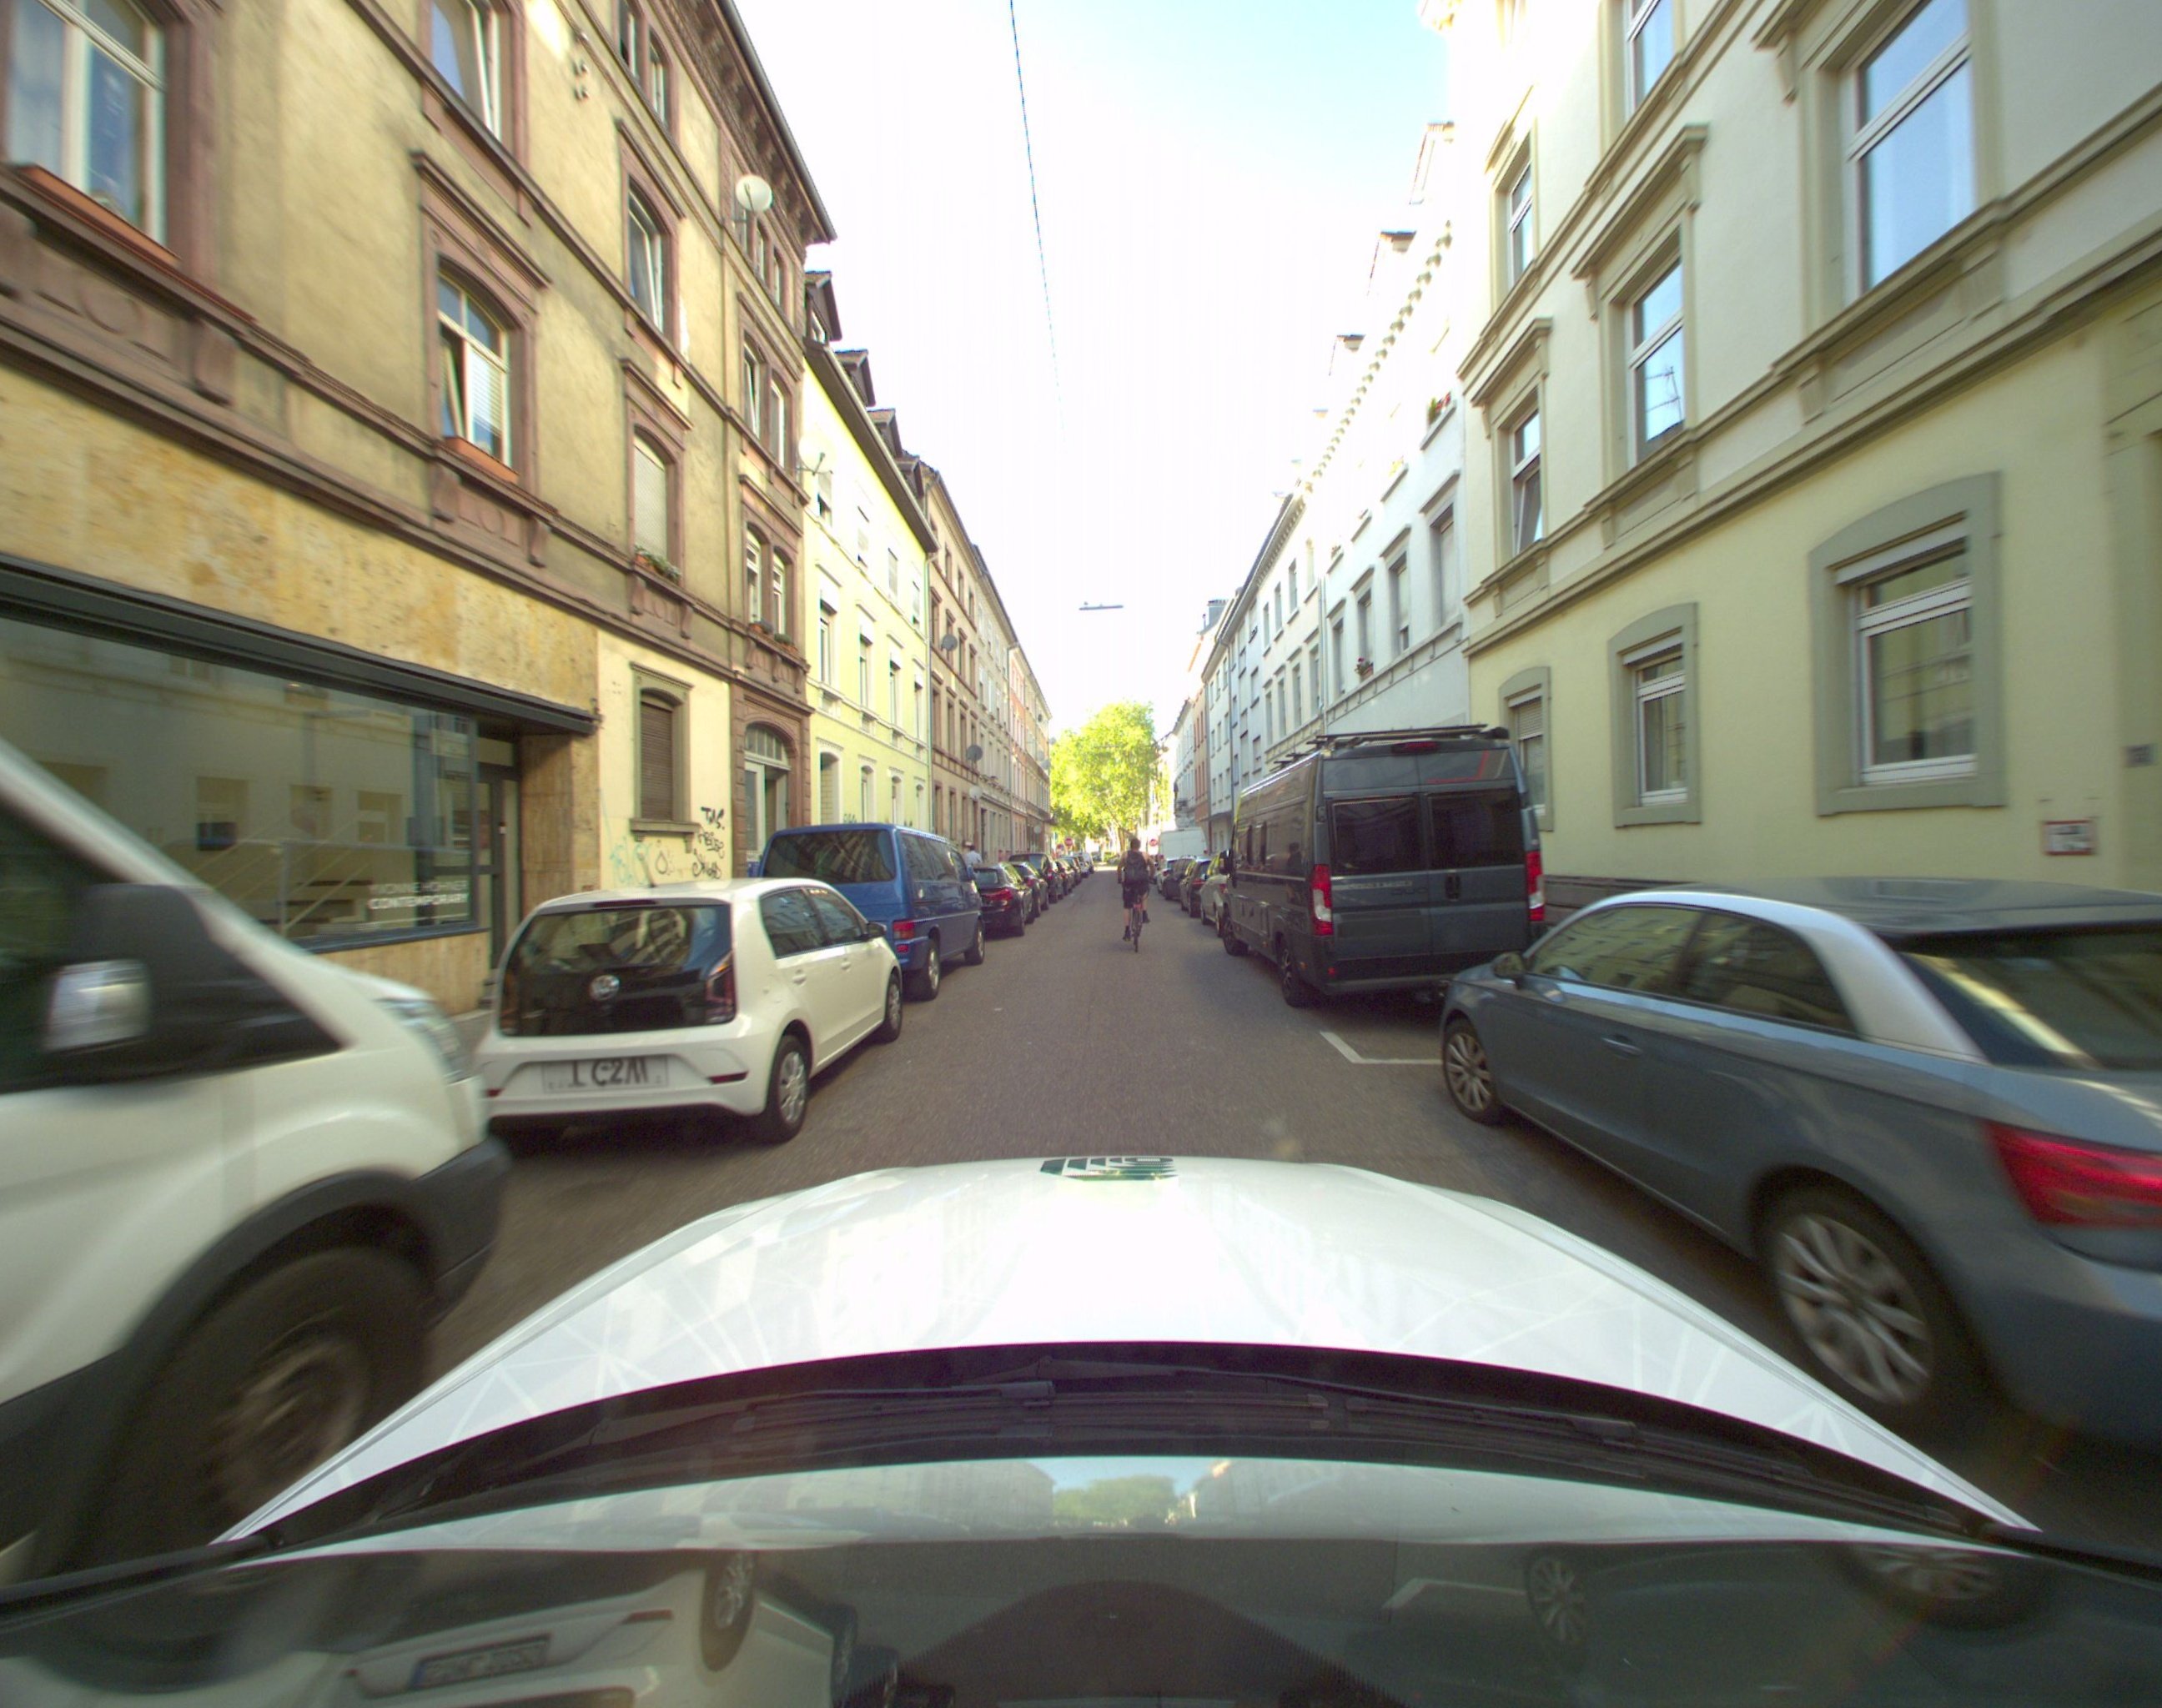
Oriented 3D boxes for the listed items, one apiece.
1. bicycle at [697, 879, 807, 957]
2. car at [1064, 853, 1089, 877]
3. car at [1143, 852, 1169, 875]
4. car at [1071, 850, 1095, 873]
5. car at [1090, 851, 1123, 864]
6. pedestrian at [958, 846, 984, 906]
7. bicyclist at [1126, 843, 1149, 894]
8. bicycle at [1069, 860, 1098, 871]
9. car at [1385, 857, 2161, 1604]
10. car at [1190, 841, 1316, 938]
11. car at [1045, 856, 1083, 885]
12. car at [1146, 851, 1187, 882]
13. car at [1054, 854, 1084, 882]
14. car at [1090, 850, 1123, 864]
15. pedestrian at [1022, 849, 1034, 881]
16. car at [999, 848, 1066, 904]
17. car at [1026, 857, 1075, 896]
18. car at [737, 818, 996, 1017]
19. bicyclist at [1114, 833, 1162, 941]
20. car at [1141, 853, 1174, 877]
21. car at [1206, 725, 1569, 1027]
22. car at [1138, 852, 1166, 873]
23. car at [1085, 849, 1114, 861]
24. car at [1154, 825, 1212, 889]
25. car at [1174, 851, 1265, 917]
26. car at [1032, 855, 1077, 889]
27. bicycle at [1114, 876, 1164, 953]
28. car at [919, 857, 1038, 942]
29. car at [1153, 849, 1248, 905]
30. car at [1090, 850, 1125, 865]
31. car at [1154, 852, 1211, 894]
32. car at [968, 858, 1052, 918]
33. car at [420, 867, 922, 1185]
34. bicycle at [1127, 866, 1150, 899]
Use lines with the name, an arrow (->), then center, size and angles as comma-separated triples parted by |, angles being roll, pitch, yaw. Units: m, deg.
bicycle -> -5.091, 0.957, 12.764 | 0.752, 1.021, 2.031 | 2, 0, 4
car -> -0.315, 0.750, 55.613 | 1.540, 1.550, 3.464 | -2, 0, -1
car -> 5.109, 0.630, 55.812 | 1.585, 1.492, 3.878 | -2, 0, 3
car -> 0.213, 0.592, 67.812 | 1.781, 1.737, 3.878 | -2, 0, 2
car -> 3.590, 0.454, 115.572 | 4.458, 1.696, 1.865 | -2, 0, -2
pedestrian -> -3.369, 0.664, 25.046 | 0.648, 1.817, 0.754 | 0, 0, 3
bicyclist -> 1.895, 0.484, 27.382 | 0.667, 1.658, 0.877 | -2, 0, 2
bicycle -> 0.236, 1.090, 77.297 | 2.707, 0.892, 0.618 | -2, 0, -1
car -> 2.965, 0.765, 3.705 | 1.740, 1.444, 4.174 | -1, 0, 2
car -> 3.312, 0.623, 16.470 | 1.687, 1.608, 4.377 | -3, 0, 2
car -> -0.856, 0.844, 43.282 | 1.699, 1.414, 4.305 | -2, 0, 2
car -> 4.458, 0.635, 43.022 | 1.726, 1.470, 4.020 | -2, 0, 0
car -> -0.703, 0.782, 48.242 | 1.599, 1.530, 3.379 | -3, 0, 1
car -> 3.497, 0.443, 111.879 | 4.458, 1.696, 1.865 | -2, 0, -2
pedestrian -> -3.097, 0.621, 47.278 | 0.608, 1.858, 0.754 | 0, 0, 2
car -> -1.613, 0.718, 28.275 | 1.794, 1.698, 4.002 | -4, 0, 2
car -> -1.203, 0.867, 33.245 | 1.585, 1.440, 3.657 | -2, 0, 3
car -> -2.426, 0.640, 10.567 | 1.820, 1.891, 4.616 | -4, 0, 2
bicyclist -> 0.908, 0.513, 13.208 | 0.737, 1.679, 1.117 | 0, 0, 2
car -> 4.719, 0.658, 50.727 | 1.652, 1.338, 4.000 | -2, 0, 1
car -> 3.051, 0.183, 9.994 | 2.167, 2.425, 6.312 | -3, 0, 2
car -> 5.310, 0.641, 61.269 | 1.704, 1.470, 4.000 | -2, 0, 1
car -> 2.964, 0.119, 132.158 | 4.458, 1.696, 1.865 | -2, 0, -2
car -> 4.464, 0.121, 36.486 | 2.194, 2.550, 6.043 | -2, 0, 4
car -> 3.494, 0.695, 21.220 | 1.739, 1.485, 4.245 | -2, 0, 2
car -> -1.190, 0.813, 38.227 | 1.666, 1.430, 3.893 | -2, 0, 5
bicycle -> 0.917, 0.935, 13.274 | 0.737, 1.100, 2.043 | 0, 0, 2
car -> -2.003, 0.839, 17.254 | 1.856, 1.440, 4.645 | -2, 1, 0
car -> 3.737, 0.668, 26.377 | 1.810, 1.478, 4.597 | -5, 1, -7
car -> 3.489, 0.410, 107.207 | 4.458, 1.759, 1.865 | -2, 0, -2
car -> 3.802, 0.683, 31.057 | 1.719, 1.429, 3.833 | -2, 0, 1
car -> -1.838, 0.860, 22.316 | 1.730, 1.427, 4.003 | -2, 0, 2
car -> -2.412, 0.884, 5.966 | 1.640, 1.447, 3.840 | -2, 0, 1
bicycle -> 1.928, 0.936, 27.497 | 0.661, 1.037, 1.960 | -2, 0, 2
